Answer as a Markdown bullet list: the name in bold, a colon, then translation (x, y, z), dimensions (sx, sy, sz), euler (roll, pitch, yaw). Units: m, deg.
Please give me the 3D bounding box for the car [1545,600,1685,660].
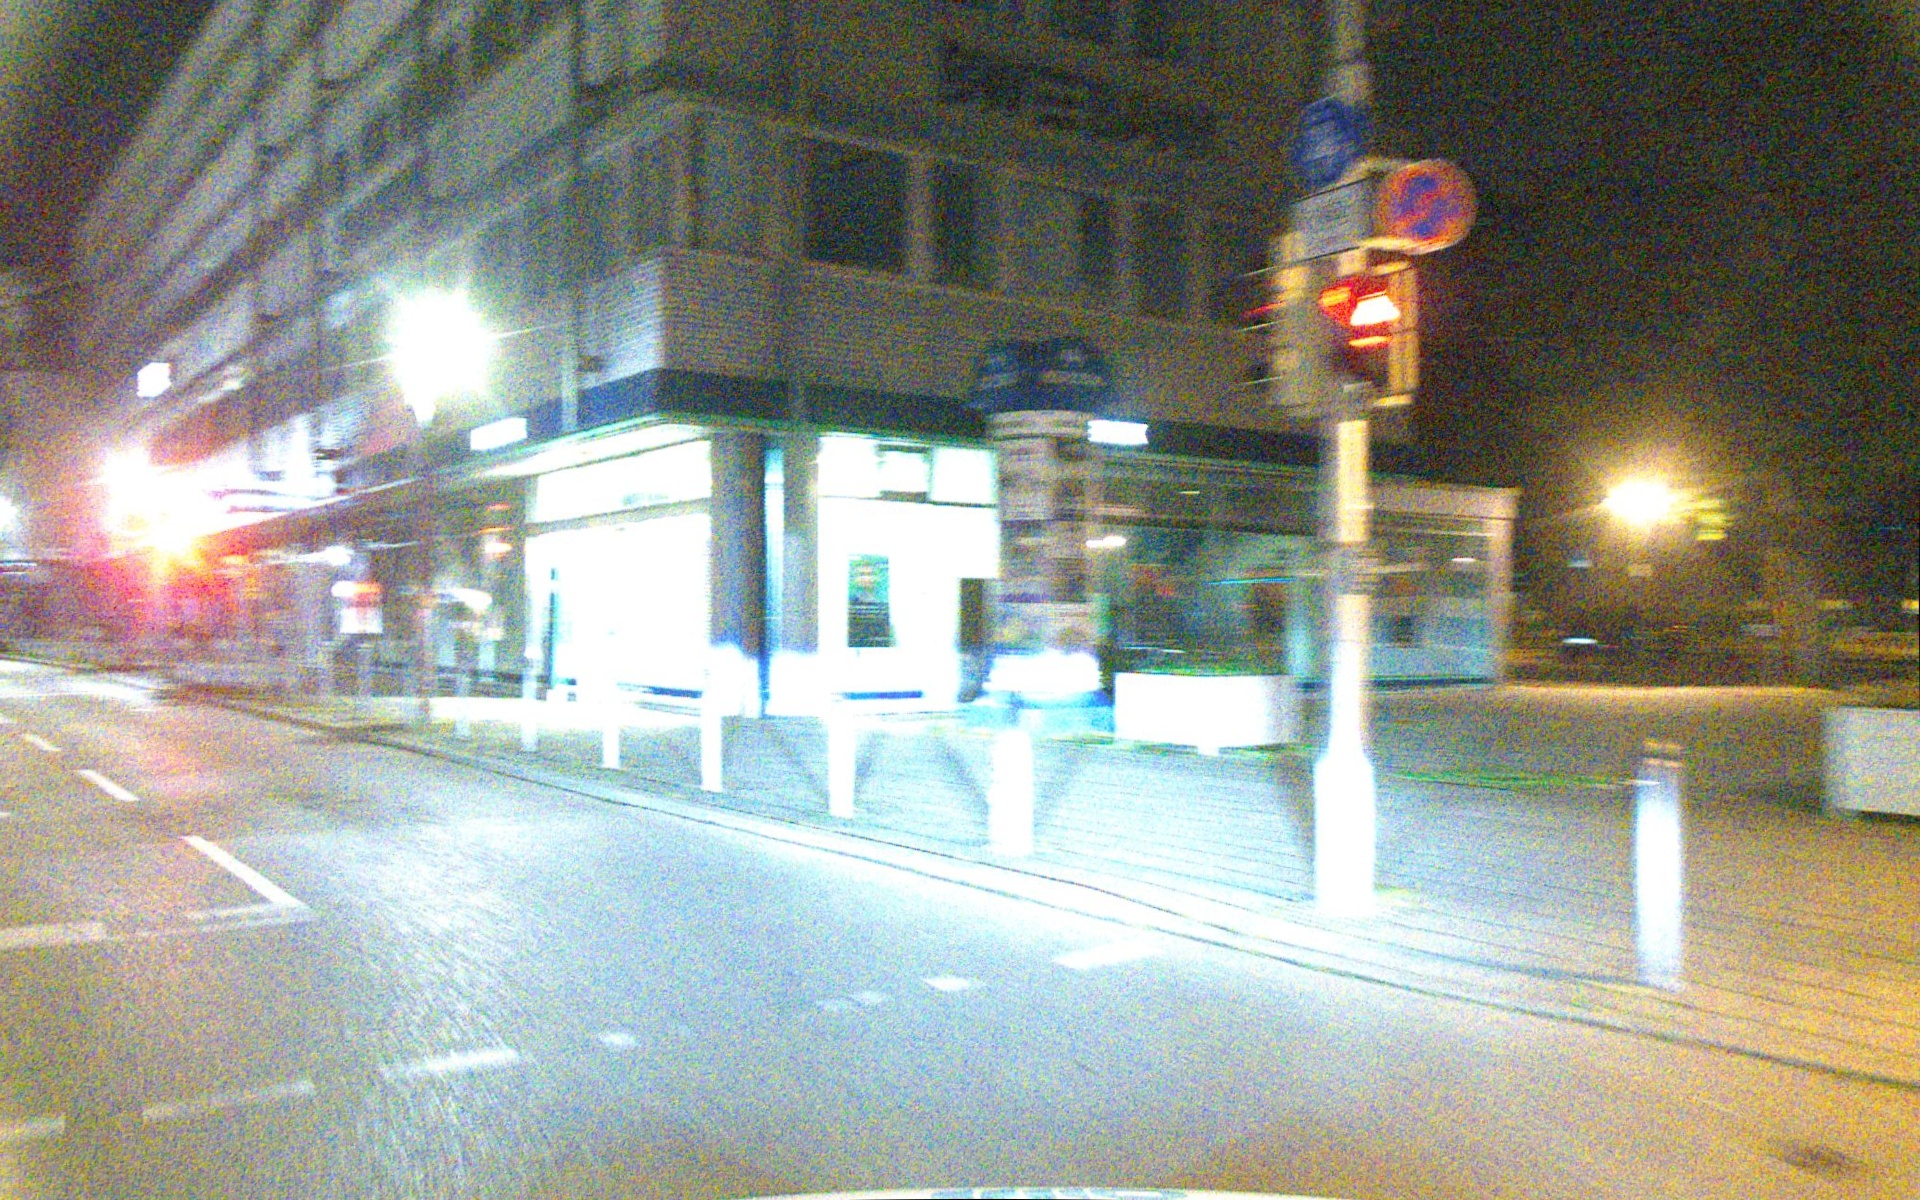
- **car**: translation (17.903, 0.780, 45.153), dimensions (3.962, 1.476, 1.897), euler (-1, 1, -40)
